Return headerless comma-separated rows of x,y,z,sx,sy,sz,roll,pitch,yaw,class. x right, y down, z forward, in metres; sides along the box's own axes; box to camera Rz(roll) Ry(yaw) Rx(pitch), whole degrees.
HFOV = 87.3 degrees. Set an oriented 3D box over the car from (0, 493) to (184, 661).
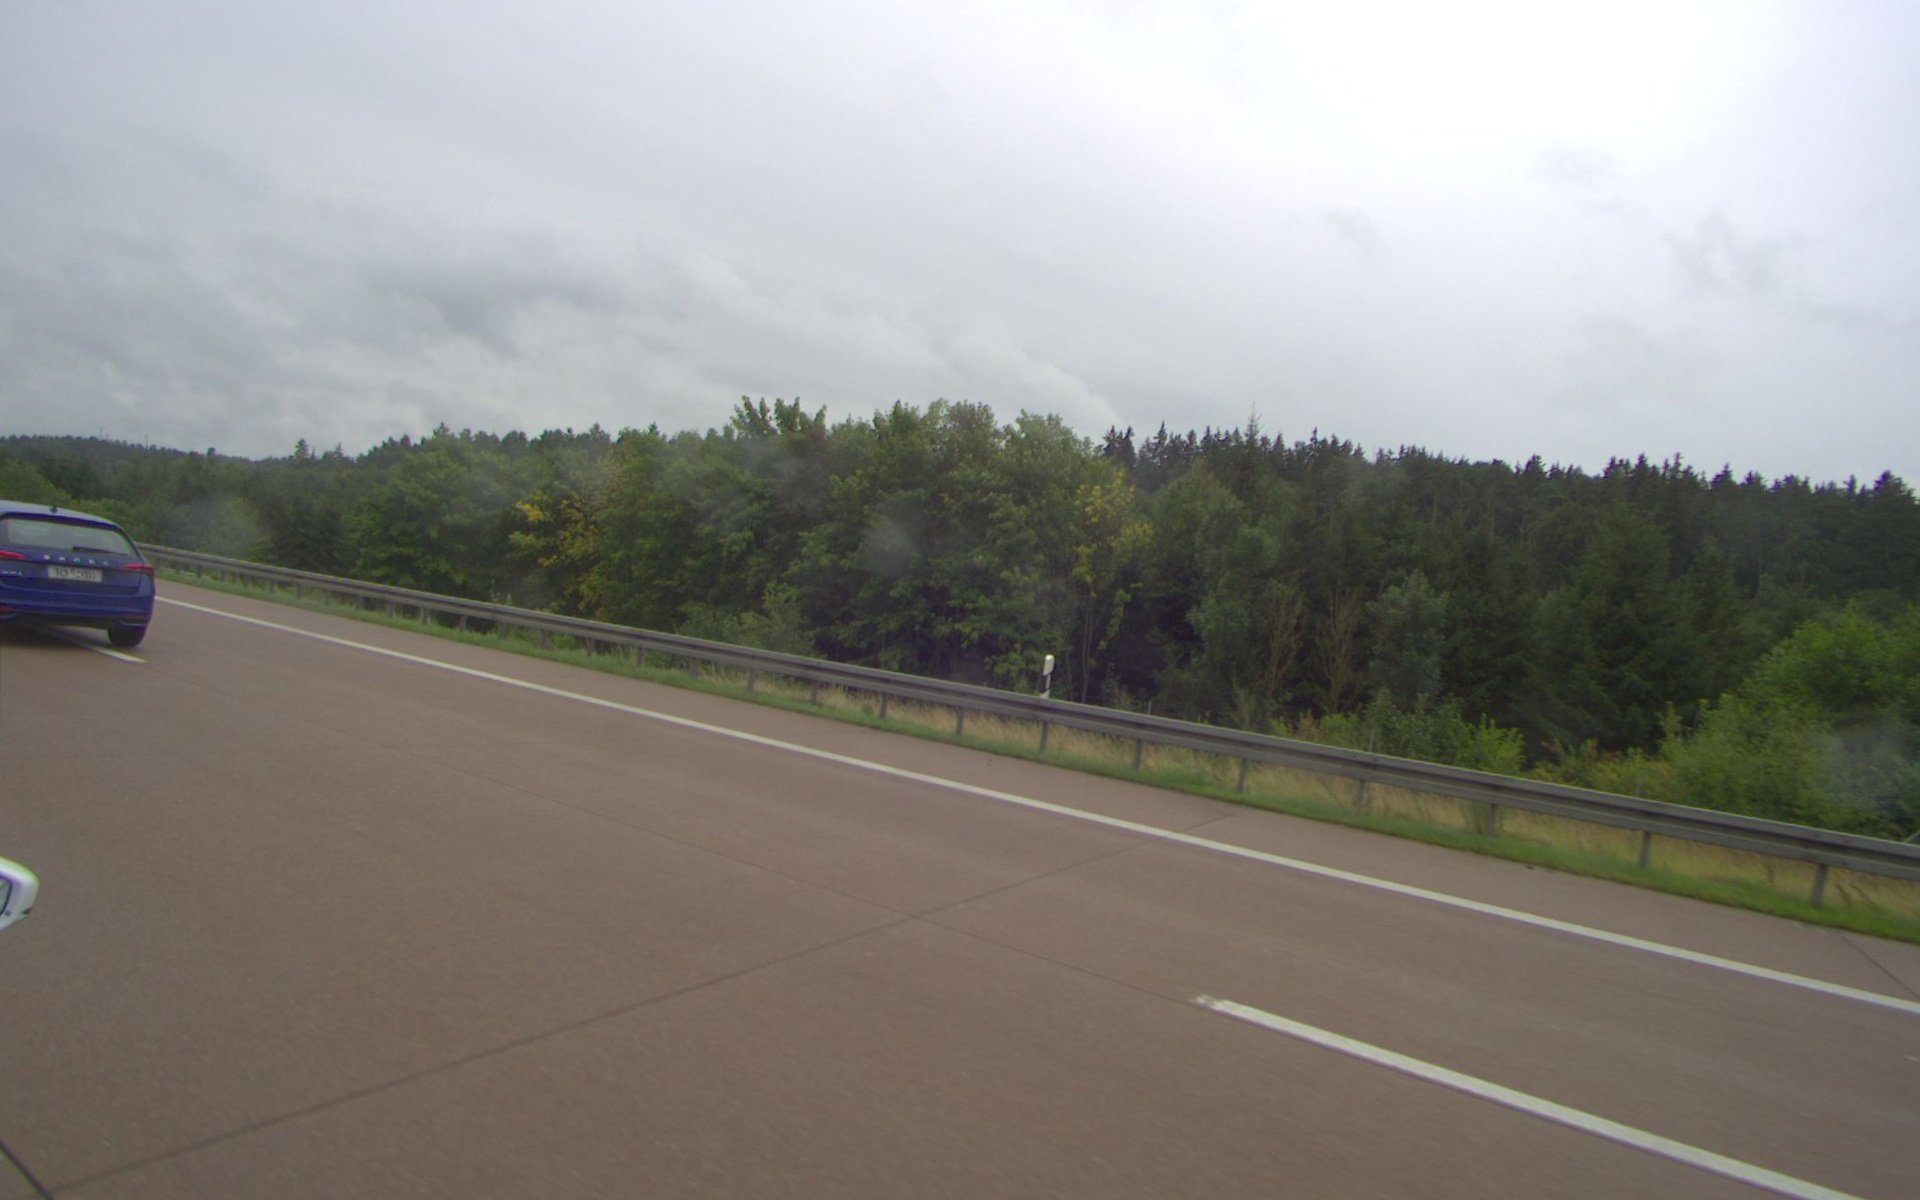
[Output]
-10.938,-0.360,11.564,4.079,1.582,1.774,5,-3,32,car
